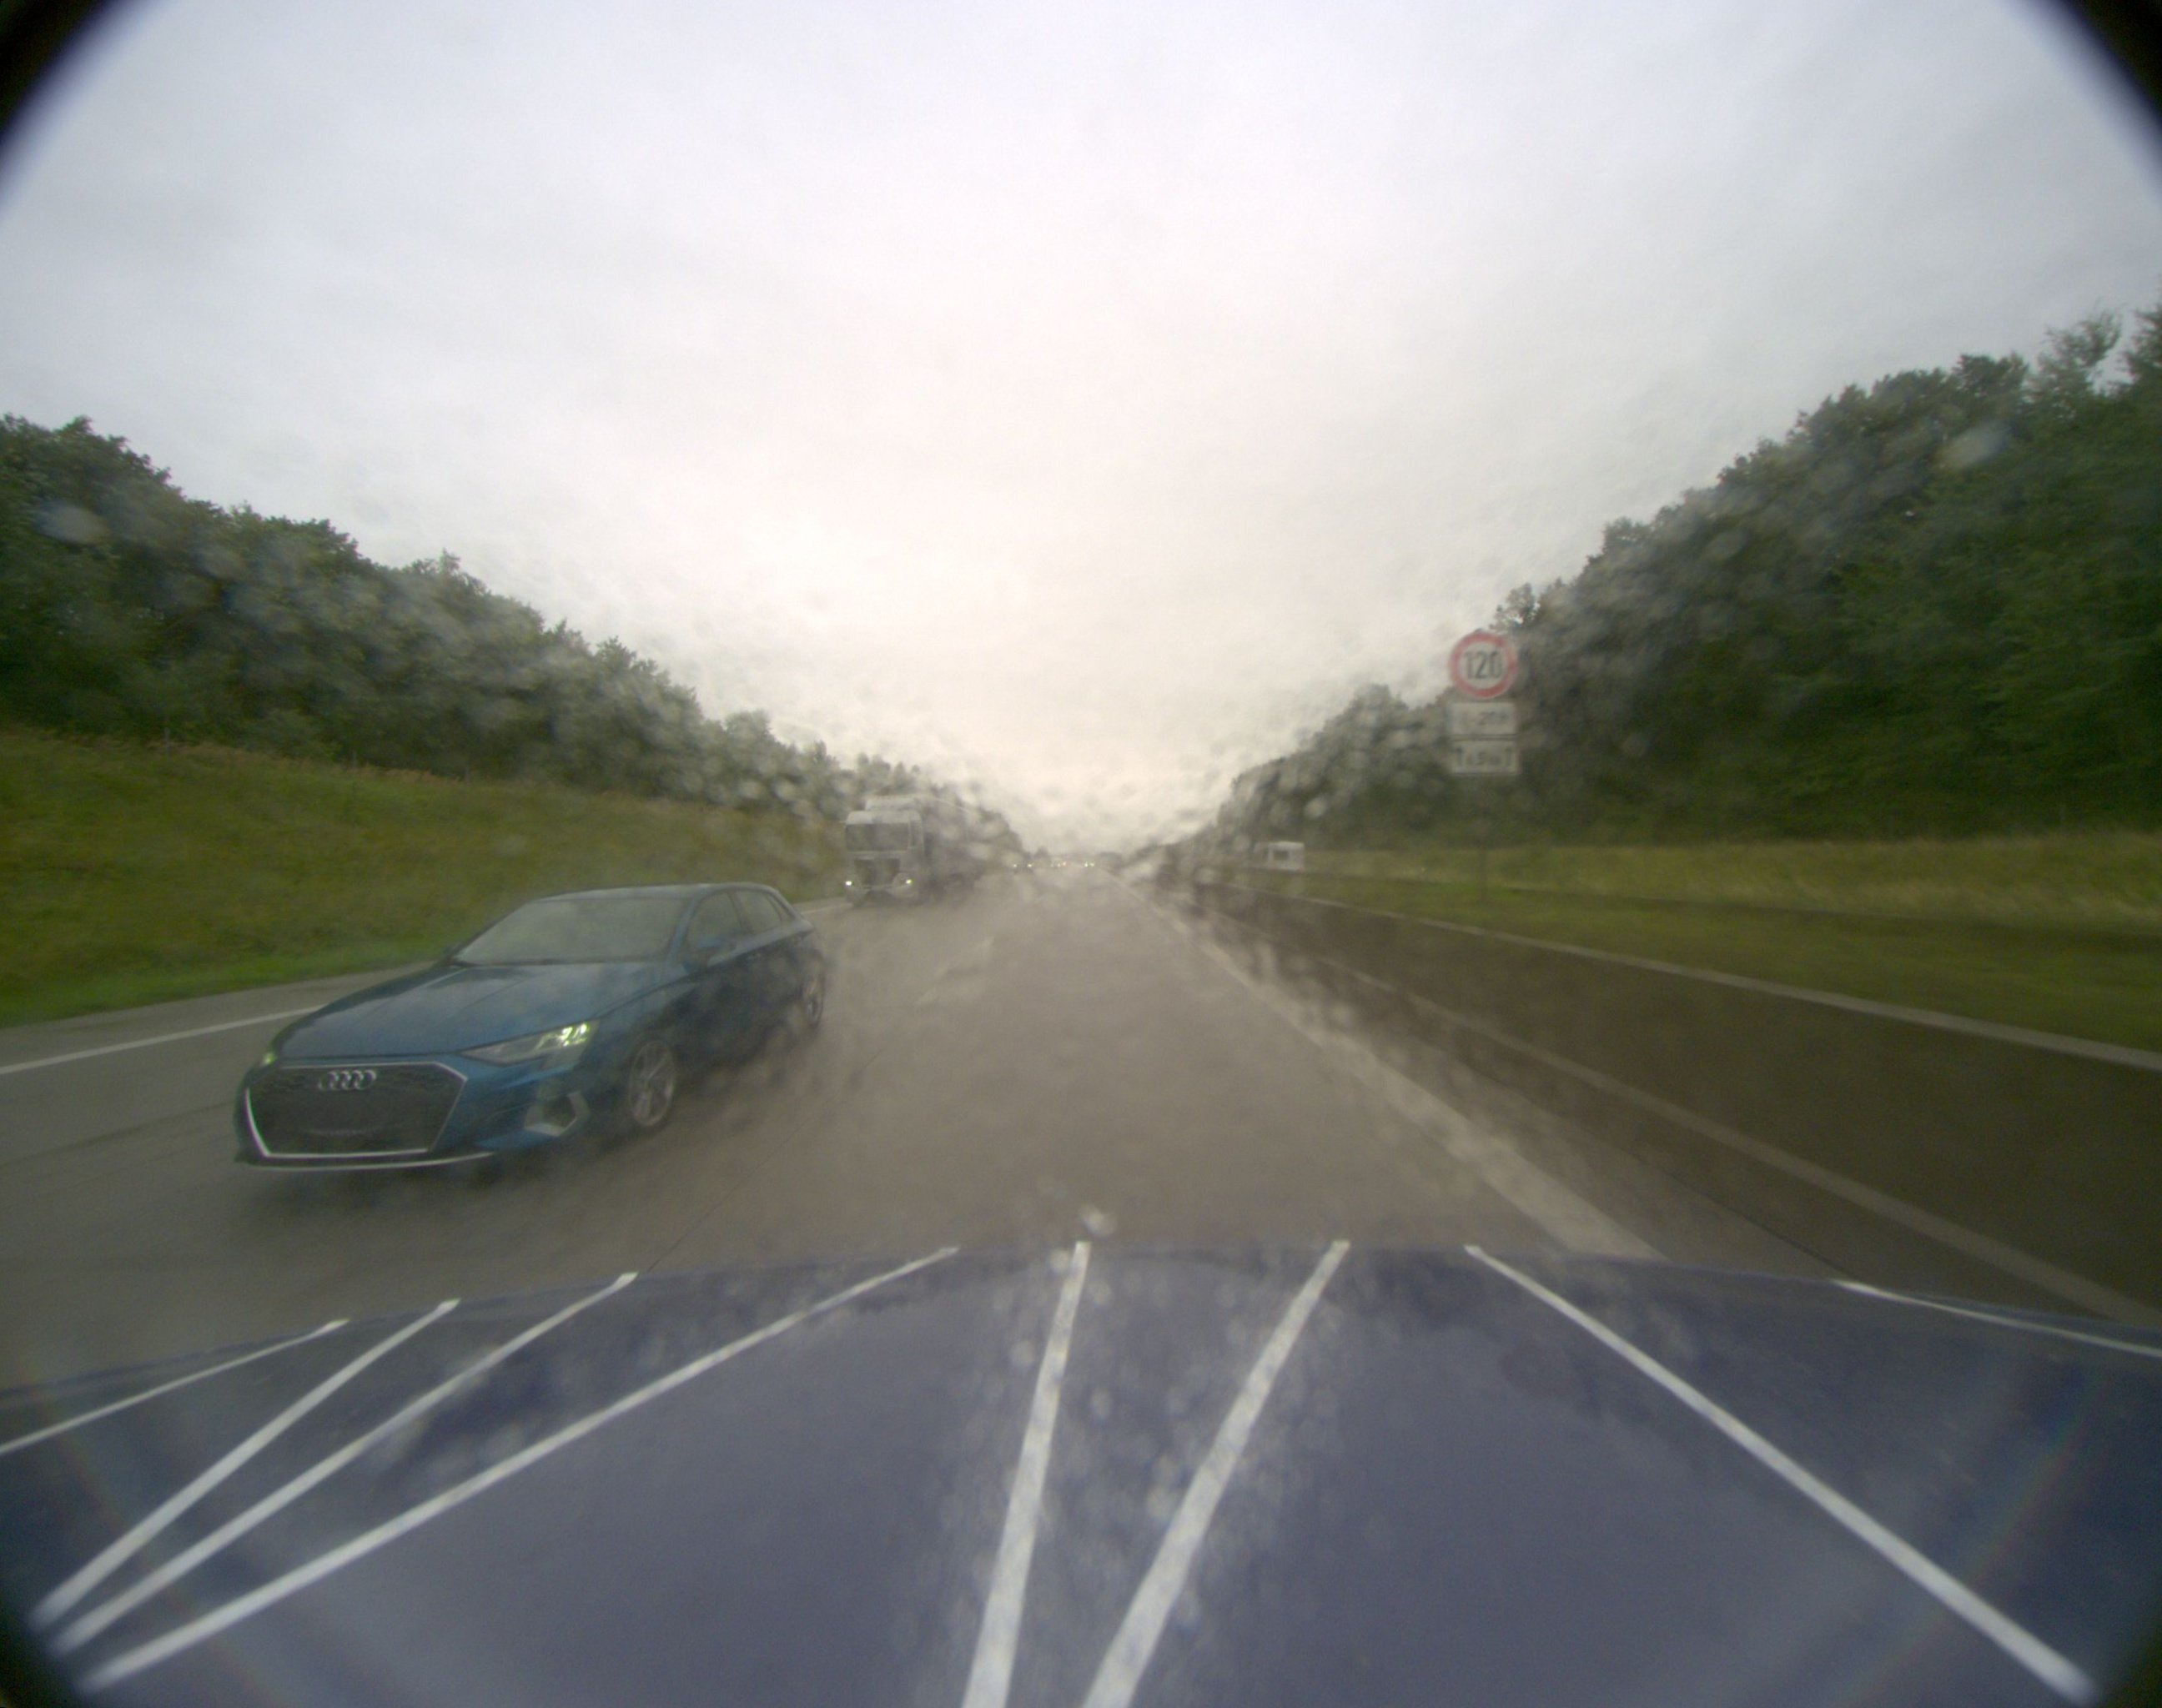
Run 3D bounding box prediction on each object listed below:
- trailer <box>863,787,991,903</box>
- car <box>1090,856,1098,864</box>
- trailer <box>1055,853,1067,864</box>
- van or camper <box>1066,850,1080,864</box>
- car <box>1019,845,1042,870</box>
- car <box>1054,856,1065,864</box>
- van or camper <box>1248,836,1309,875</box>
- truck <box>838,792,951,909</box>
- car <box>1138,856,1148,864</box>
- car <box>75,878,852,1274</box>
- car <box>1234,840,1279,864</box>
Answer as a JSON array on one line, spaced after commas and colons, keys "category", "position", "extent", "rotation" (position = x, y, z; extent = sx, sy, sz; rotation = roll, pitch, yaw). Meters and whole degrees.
[{"category": "trailer", "position": [-6.810, -0.319, 36.706], "extent": [2.713, 4.353, 15.205], "rotation": [-3, 0, 1]}, {"category": "car", "position": [2.733, 1.299, 162.639], "extent": [1.733, 1.450, 4.672], "rotation": [-1, 1, 1]}, {"category": "trailer", "position": [-4.519, 1.037, 173.512], "extent": [2.348, 2.444, 5.940], "rotation": [-1, 0, 2]}, {"category": "van or camper", "position": [-1.421, 0.557, 141.881], "extent": [2.233, 2.537, 7.950], "rotation": [-1, 0, 2]}, {"category": "car", "position": [-5.841, 0.434, 88.234], "extent": [1.945, 2.643, 6.588], "rotation": [-3, -1, 2]}, {"category": "car", "position": [-4.732, 1.278, 167.539], "extent": [1.998, 1.575, 5.954], "rotation": [-3, -1, 2]}, {"category": "van or camper", "position": [13.016, 0.094, 50.551], "extent": [2.507, 2.415, 5.918], "rotation": [-1, 0, 0]}, {"category": "truck", "position": [-6.904, -0.111, 28.987], "extent": [2.643, 3.931, 5.686], "rotation": [-2, 0, 1]}, {"category": "car", "position": [14.053, 1.363, 172.537], "extent": [1.973, 1.600, 4.852], "rotation": [0, 0, 2]}, {"category": "car", "position": [-3.294, 1.014, 5.522], "extent": [1.733, 1.450, 4.672], "rotation": [-1, 1, 1]}, {"category": "car", "position": [12.916, -0.185, 56.245], "extent": [1.998, 1.635, 5.408], "rotation": [1, 1, 0]}]
